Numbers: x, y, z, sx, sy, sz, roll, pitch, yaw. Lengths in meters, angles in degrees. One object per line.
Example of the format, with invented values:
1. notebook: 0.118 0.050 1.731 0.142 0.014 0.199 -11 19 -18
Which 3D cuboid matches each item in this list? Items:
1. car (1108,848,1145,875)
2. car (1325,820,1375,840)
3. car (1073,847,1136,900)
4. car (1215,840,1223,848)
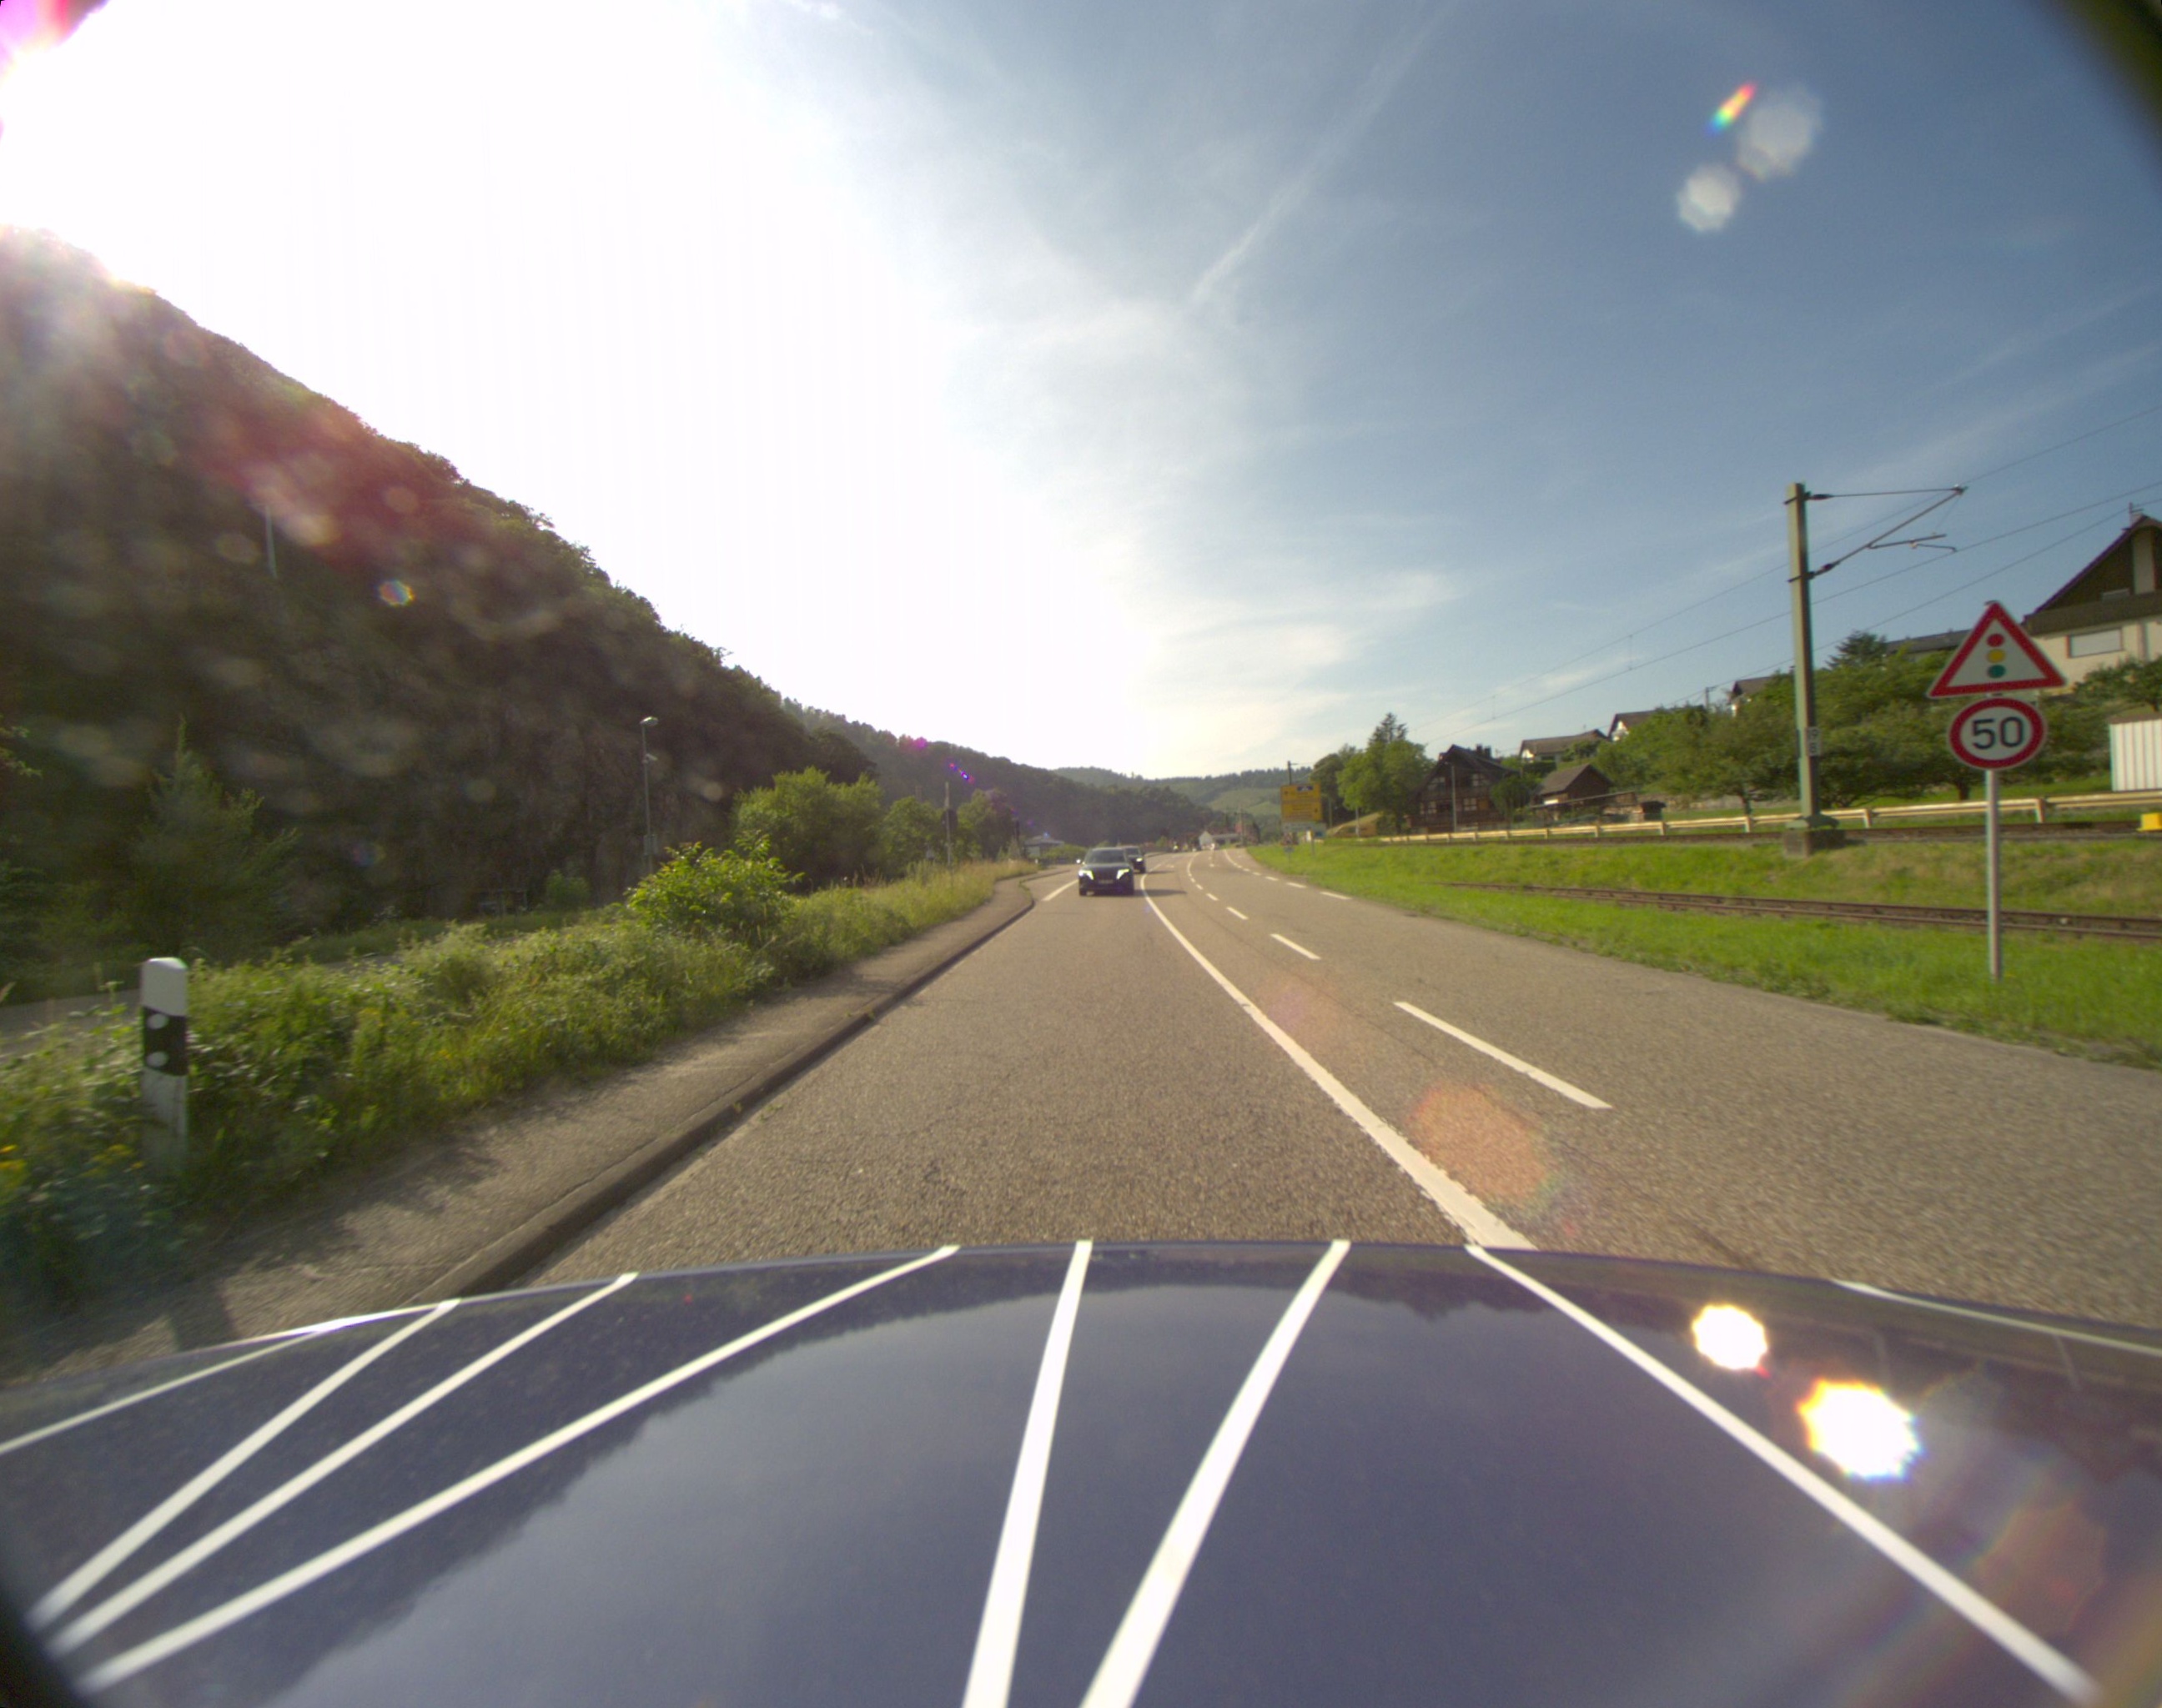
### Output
1. car: 2.745 0.455 46.823 1.919 1.455 4.000 -4 0 0
2. car: 41.610 -3.740 117.471 7.072 2.442 2.952 -4 0 21
3. car: 0.967 0.659 27.728 1.998 1.661 5.512 -2 0 4
4. car: 46.957 -3.368 258.426 2.123 2.422 5.232 -5 0 12
